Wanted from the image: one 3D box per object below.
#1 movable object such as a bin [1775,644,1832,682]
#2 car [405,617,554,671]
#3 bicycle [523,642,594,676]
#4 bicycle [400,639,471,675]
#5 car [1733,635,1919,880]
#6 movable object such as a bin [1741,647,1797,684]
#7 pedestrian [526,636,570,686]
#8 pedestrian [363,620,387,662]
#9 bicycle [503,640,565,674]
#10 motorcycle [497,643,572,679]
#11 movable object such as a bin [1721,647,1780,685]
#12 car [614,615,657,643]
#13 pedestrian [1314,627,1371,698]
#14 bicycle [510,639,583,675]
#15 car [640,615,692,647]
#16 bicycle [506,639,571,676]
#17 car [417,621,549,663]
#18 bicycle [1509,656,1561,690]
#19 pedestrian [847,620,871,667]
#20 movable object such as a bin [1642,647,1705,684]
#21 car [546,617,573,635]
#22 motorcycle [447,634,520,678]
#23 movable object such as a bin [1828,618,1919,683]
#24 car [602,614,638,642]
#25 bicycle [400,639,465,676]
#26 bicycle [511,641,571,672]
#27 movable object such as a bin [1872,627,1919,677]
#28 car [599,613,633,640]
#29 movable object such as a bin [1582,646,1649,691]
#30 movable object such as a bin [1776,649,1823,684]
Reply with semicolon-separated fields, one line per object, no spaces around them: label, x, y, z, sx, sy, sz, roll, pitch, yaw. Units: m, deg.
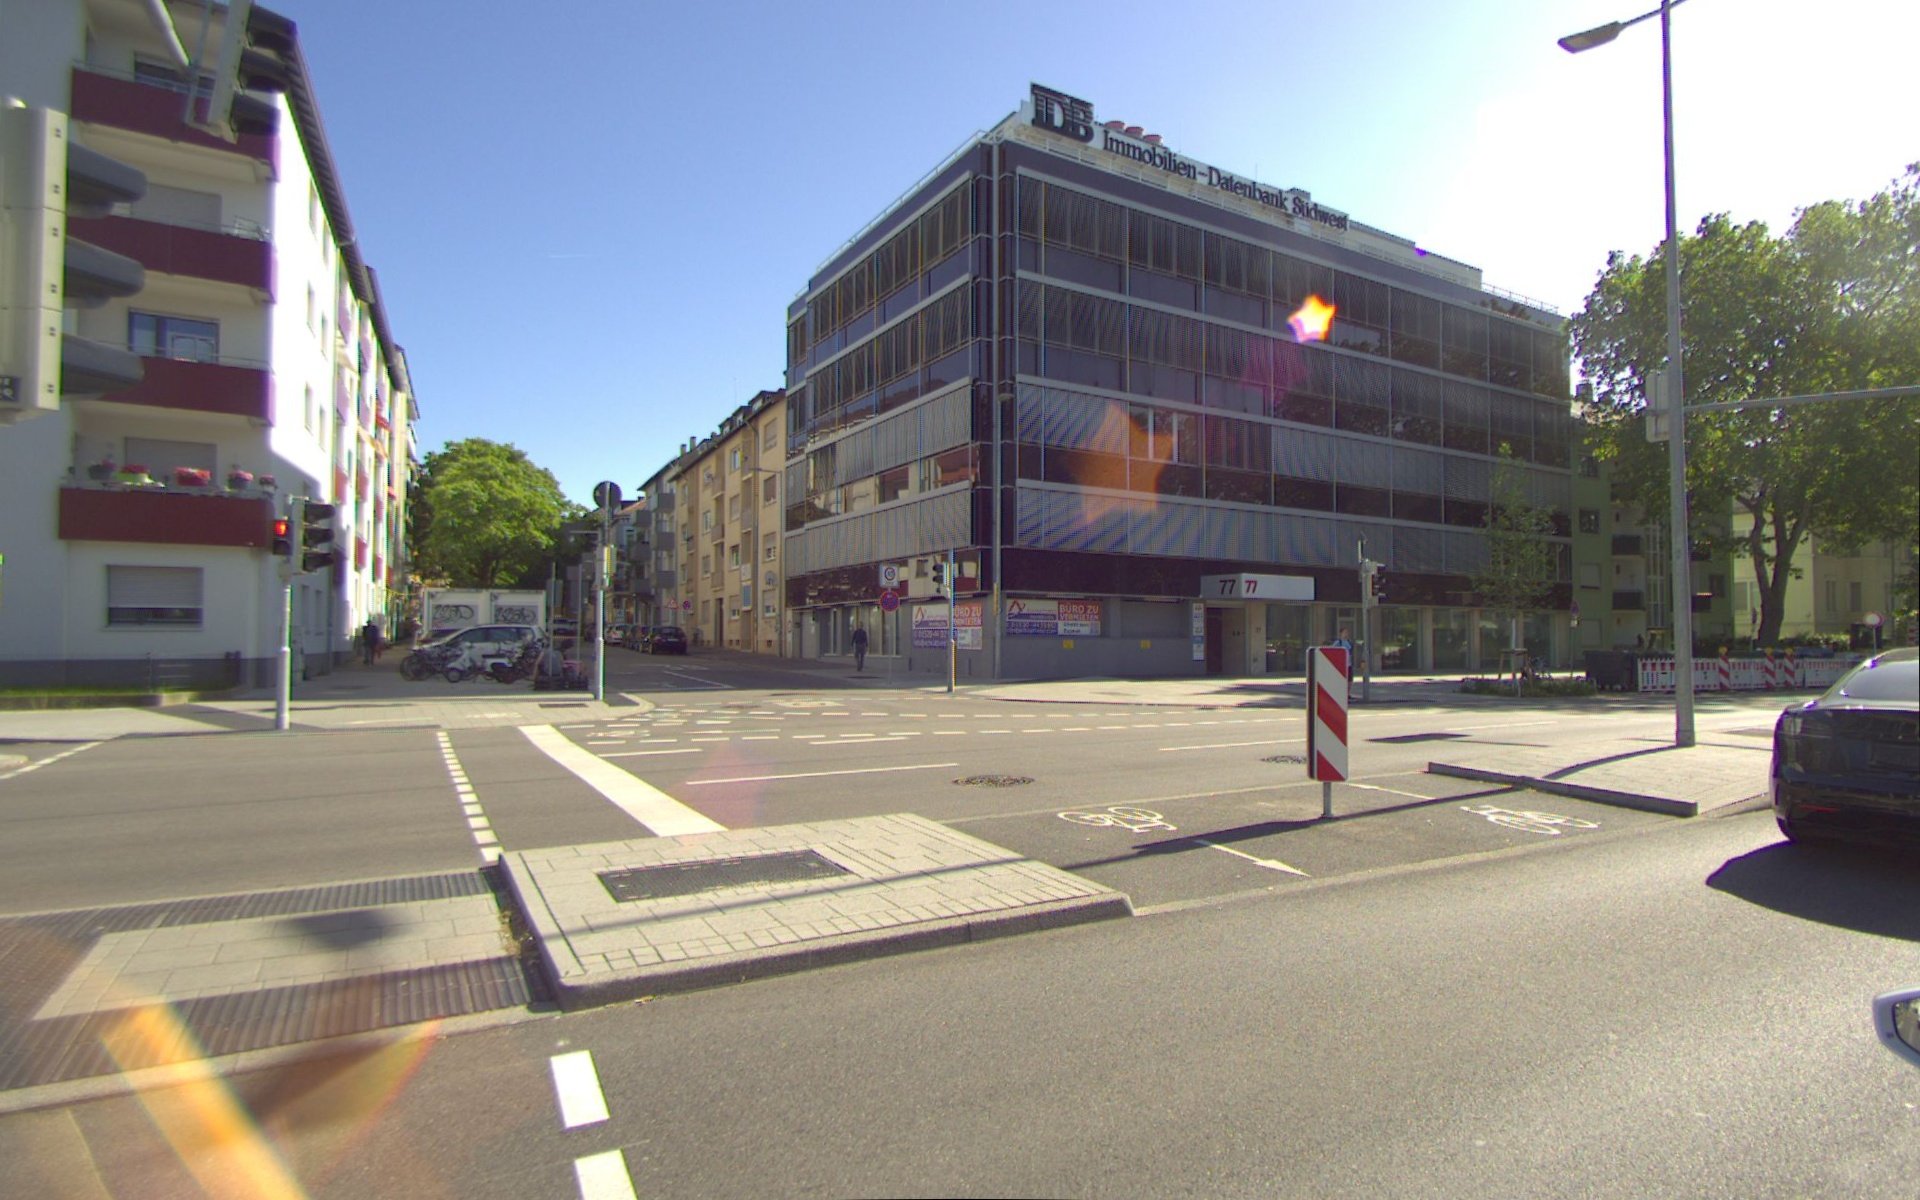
movable object such as a bin;33.749;2.496;40.236;1.608;1.441;1.259;-1;-2;34
car;-16.254;1.483;34.189;4.418;1.754;1.988;1;-2;-25
bicycle;-11.739;1.712;29.405;1.923;0.960;0.476;1;-2;-22
bicycle;-14.611;1.587;28.005;1.713;0.982;0.572;1;-2;-26
car;7.580;0.968;7.055;4.573;1.430;1.915;1;-2;-32
movable object such as a bin;30.425;2.456;37.774;0.924;1.355;1.404;1;-2;-28
pedestrian;-10.033;1.472;24.478;0.783;1.168;0.710;2;-2;-43
pedestrian;-21.183;1.492;36.363;0.686;1.516;0.597;1;-2;-27
bicycle;-13.105;1.736;30.893;1.713;1.017;0.507;1;-2;-26
motorcycle;-11.438;1.625;27.021;1.816;0.948;0.501;1;-2;-24
movable object such as a bin;29.413;2.445;37.380;1.142;1.355;1.404;1;-2;-28
car;-19.966;1.787;61.747;1.974;1.623;3.974;1;-2;-26
pedestrian;9.499;1.536;24.962;0.998;1.733;0.863;1;-2;-24
bicycle;-11.803;1.630;28.712;1.853;0.991;0.507;1;-1;-15
car;-15.410;1.623;52.447;1.974;1.623;3.974;1;-2;-26
bicycle;-12.571;1.705;29.970;1.715;1.082;0.486;1;-2;-29
car;-18.416;1.605;38.838;4.518;1.549;1.752;1;-2;-28
bicycle;18.637;2.366;32.567;1.857;1.051;0.624;1;-2;-30
pedestrian;-3.597;1.539;35.713;0.686;1.679;0.747;0;-1;8
movable object such as a bin;24.808;2.275;34.946;1.226;1.219;1.389;1;-2;-28
car;-40.425;2.601;101.391;1.977;1.742;3.967;1;0;-31
motorcycle;-12.960;1.508;27.366;1.757;1.157;0.610;1;-1;-22
movable object such as a bin;40.741;2.214;44.534;5.299;2.742;2.133;2;-2;-34
car;-22.594;1.858;66.679;1.972;1.796;3.977;1;-1;-23
bicycle;-15.531;1.678;29.626;1.668;1.072;0.572;1;-2;-26
bicycle;-13.239;1.780;31.779;1.702;0.960;0.456;1;-2;-29
movable object such as a bin;45.904;2.482;47.803;5.530;2.308;1.986;2;-3;-29
car;-24.356;1.870;71.115;1.972;1.796;3.977;1;-1;-23
movable object such as a bin;21.396;2.229;32.801;1.833;1.406;1.109;1;-2;-29
movable object such as a bin;32.466;2.554;38.851;1.523;1.287;0.975;1;-2;-31
